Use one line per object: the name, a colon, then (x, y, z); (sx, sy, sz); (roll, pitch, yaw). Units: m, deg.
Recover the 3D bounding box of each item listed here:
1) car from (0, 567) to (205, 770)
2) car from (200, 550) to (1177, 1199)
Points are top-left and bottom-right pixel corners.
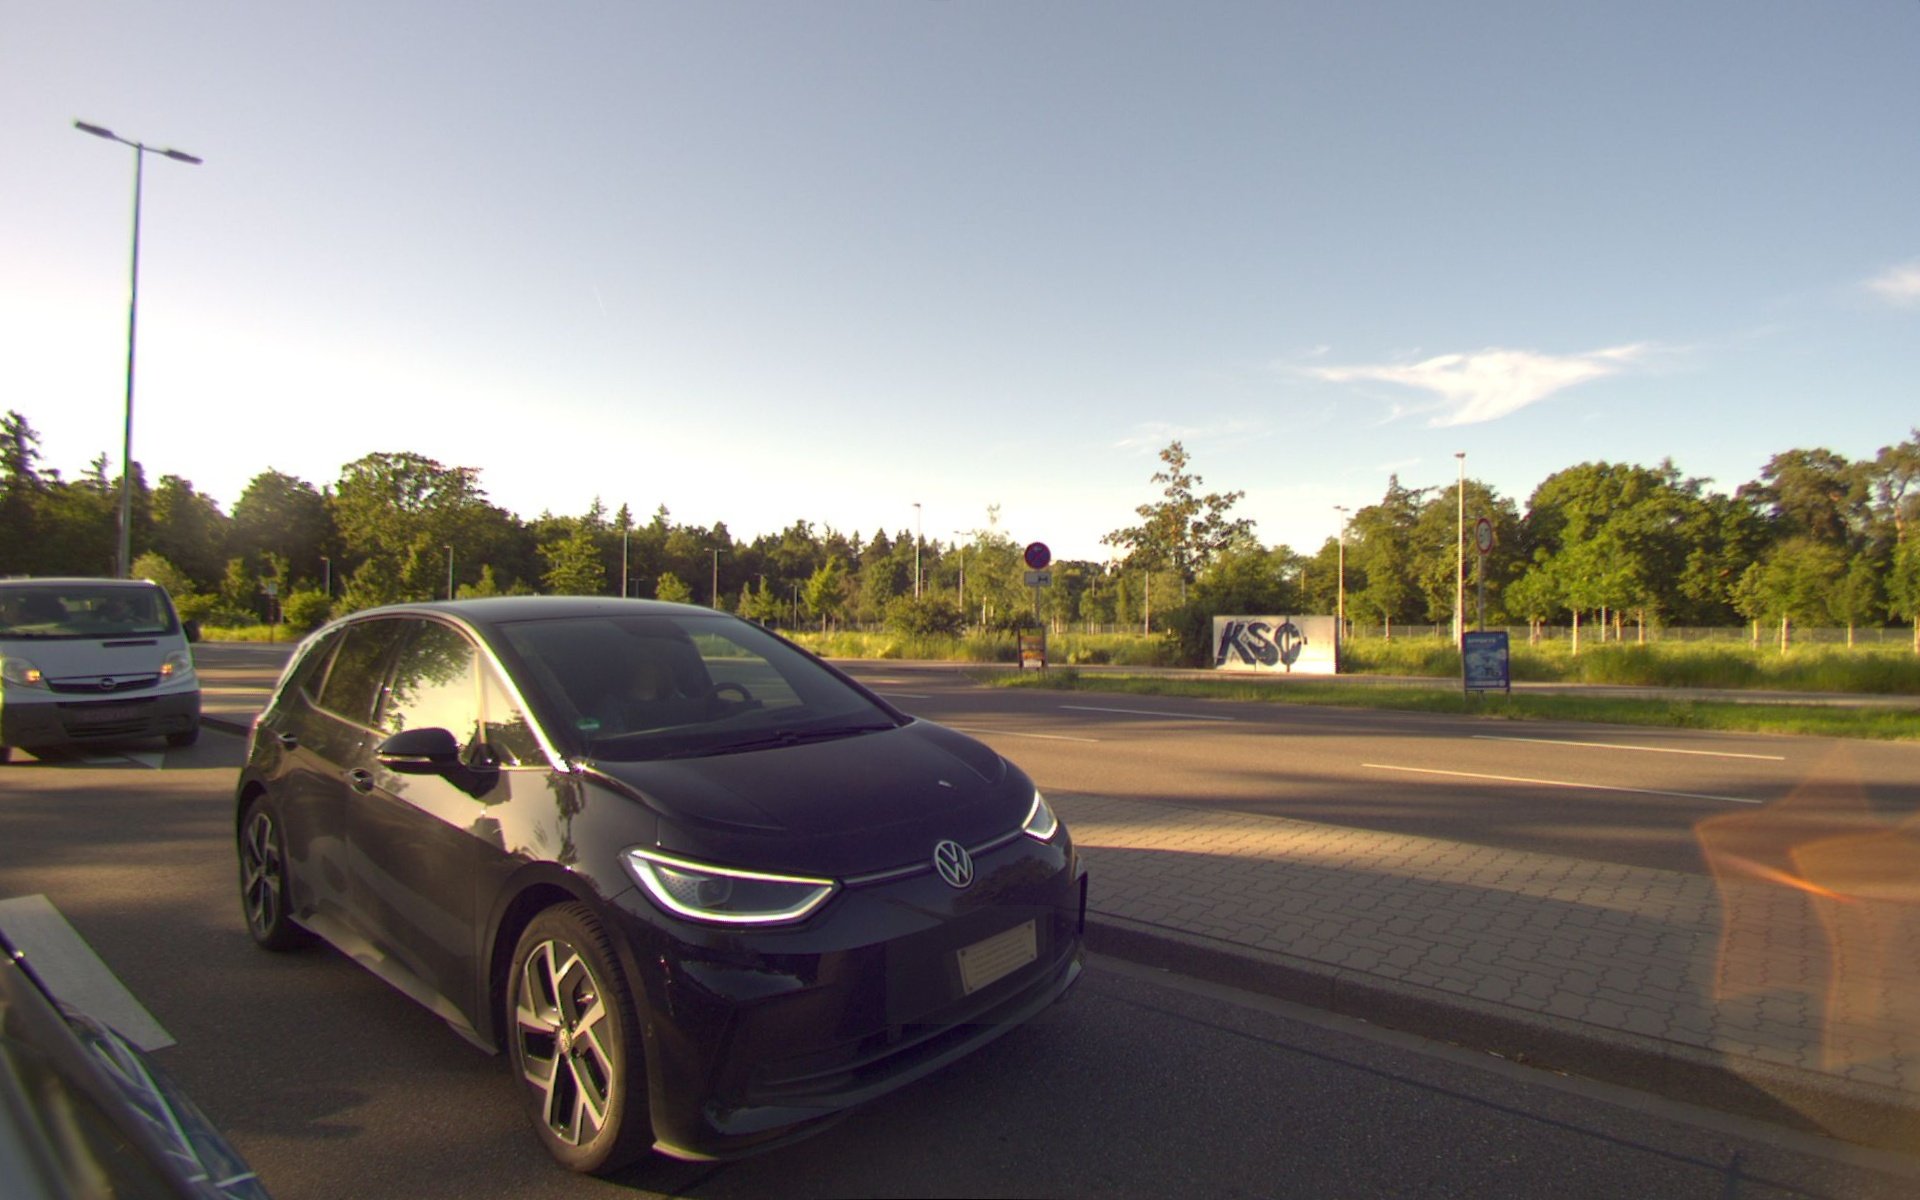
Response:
car: (-10.832, 0.725, 12.042); (5.044, 1.977, 1.859); (-2, -1, 40)
car: (-1.371, 0.684, 4.077); (3.997, 1.548, 1.859); (-1, 0, 40)
